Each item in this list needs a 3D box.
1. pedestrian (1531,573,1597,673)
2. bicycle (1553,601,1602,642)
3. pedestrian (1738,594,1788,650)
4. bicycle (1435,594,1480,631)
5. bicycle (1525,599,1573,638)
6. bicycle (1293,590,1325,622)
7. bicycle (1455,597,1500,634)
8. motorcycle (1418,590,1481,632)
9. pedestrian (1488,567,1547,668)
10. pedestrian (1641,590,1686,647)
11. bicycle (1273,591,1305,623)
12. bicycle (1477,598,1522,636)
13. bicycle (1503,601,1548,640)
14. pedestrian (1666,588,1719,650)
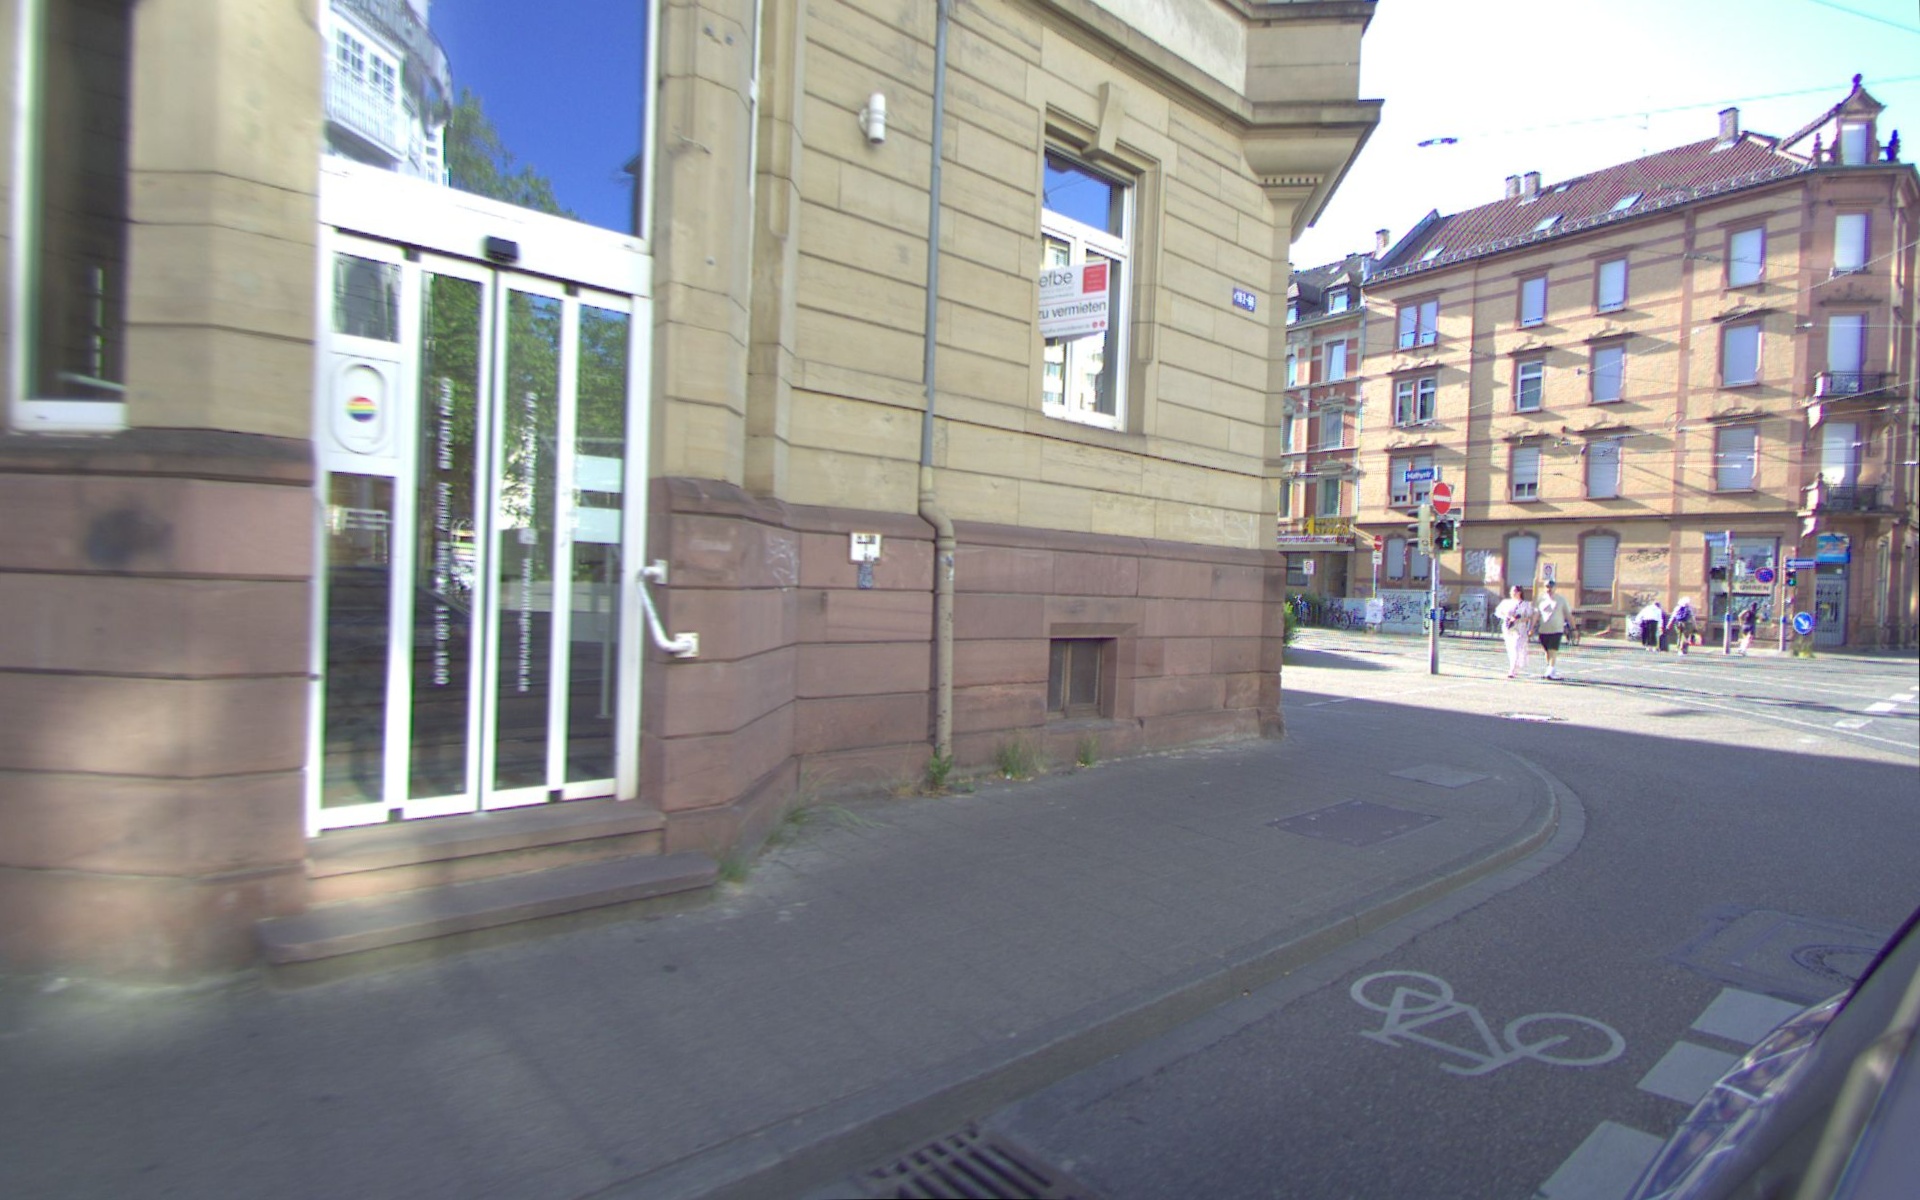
[{"bbox_3d":[10.484,0.389,17.577,0.618,1.675,0.704,2,0,-18],"label":"pedestrian"},{"bbox_3d":[20.648,0.718,33.815,2.272,1.225,0.752,4,-1,-43],"label":"bicycle"},{"bbox_3d":[23.223,0.639,29.277,0.922,1.557,0.636,2,0,-8],"label":"pedestrian"},{"bbox_3d":[18.126,0.462,36.821,2.272,1.225,0.650,4,-1,-43],"label":"bicycle"},{"bbox_3d":[20.080,0.632,34.499,2.272,1.225,0.752,3,-1,-43],"label":"bicycle"},{"bbox_3d":[13.851,0.235,40.184,0.647,1.225,2.014,3,1,35],"label":"bicycle"},{"bbox_3d":[18.575,0.565,36.276,2.272,1.225,0.650,4,-1,-43],"label":"bicycle"},{"bbox_3d":[18.552,0.437,38.405,1.916,1.422,0.862,5,-1,13],"label":"motorcycle"},{"bbox_3d":[10.016,0.307,18.194,0.691,1.767,0.646,1,-1,-27],"label":"pedestrian"},{"bbox_3d":[21.034,0.542,30.281,0.917,1.652,0.999,2,1,28],"label":"pedestrian"},{"bbox_3d":[13.221,0.288,40.650,0.647,1.143,2.014,3,-1,35],"label":"bicycle"},{"bbox_3d":[19.095,0.620,35.802,2.272,1.225,0.650,4,-1,-43],"label":"bicycle"},{"bbox_3d":[19.665,0.721,35.169,2.272,1.225,0.650,4,-1,-43],"label":"bicycle"},{"bbox_3d":[20.242,0.503,27.999,0.914,1.652,0.935,2,1,21],"label":"pedestrian"}]
